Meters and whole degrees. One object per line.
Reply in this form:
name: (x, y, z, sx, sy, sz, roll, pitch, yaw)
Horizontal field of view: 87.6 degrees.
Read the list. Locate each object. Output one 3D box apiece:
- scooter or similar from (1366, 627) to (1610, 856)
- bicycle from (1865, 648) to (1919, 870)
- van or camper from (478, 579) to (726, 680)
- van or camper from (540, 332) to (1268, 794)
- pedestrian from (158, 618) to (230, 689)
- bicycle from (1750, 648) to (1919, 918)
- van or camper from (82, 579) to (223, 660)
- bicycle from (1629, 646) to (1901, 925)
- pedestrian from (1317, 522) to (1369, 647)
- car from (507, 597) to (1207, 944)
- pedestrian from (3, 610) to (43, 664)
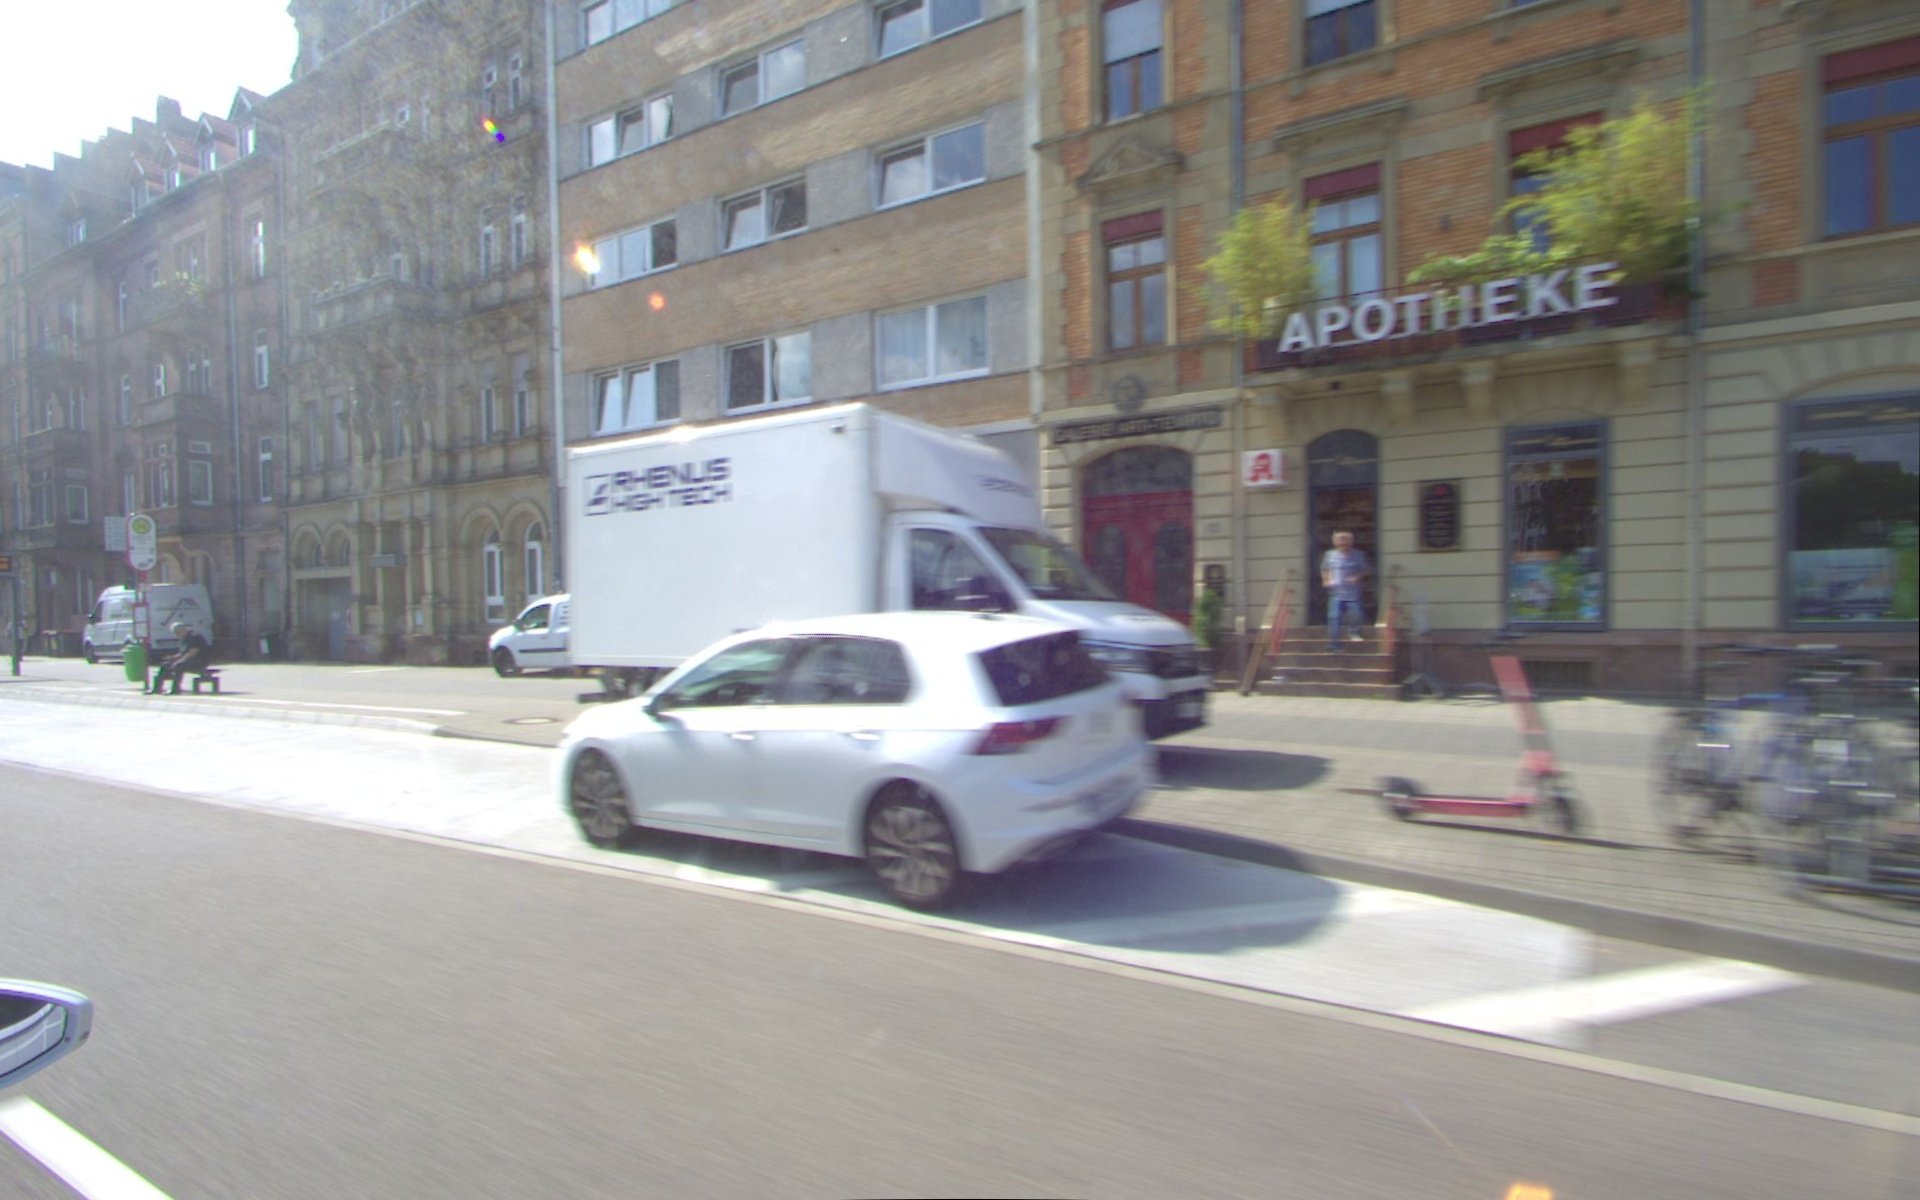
scooter or similar: (3.106, 0.779, 5.950, 1.237, 1.229, 0.367, -1, -1, 41)
bicycle: (4.967, 0.818, 4.856, 0.366, 1.099, 1.758, 1, 0, 26)
van or camper: (-7.814, 0.602, 21.757, 5.215, 1.931, 1.991, -1, 3, 28)
van or camper: (-0.924, -0.221, 10.560, 7.533, 3.375, 2.705, -1, 1, 34)
pedestrian: (-14.563, 1.011, 19.049, 0.806, 1.333, 0.745, 0, -1, -6)
bicycle: (4.503, 0.826, 5.097, 0.366, 1.099, 1.758, 1, 0, 26)
van or camper: (-26.953, 0.632, 33.366, 5.486, 2.507, 1.989, -1, 0, 32)
bicycle: (3.984, 0.823, 5.111, 0.365, 1.099, 1.762, 1, 0, 14)
pedestrian: (5.422, -0.215, 14.172, 0.605, 1.721, 0.588, 1, 2, 28)
car: (-0.805, 0.822, 6.450, 4.284, 1.457, 1.784, -2, 3, 34)
pedestrian: (-35.794, 1.420, 38.254, 0.982, 2.039, 0.884, -1, -1, 32)
